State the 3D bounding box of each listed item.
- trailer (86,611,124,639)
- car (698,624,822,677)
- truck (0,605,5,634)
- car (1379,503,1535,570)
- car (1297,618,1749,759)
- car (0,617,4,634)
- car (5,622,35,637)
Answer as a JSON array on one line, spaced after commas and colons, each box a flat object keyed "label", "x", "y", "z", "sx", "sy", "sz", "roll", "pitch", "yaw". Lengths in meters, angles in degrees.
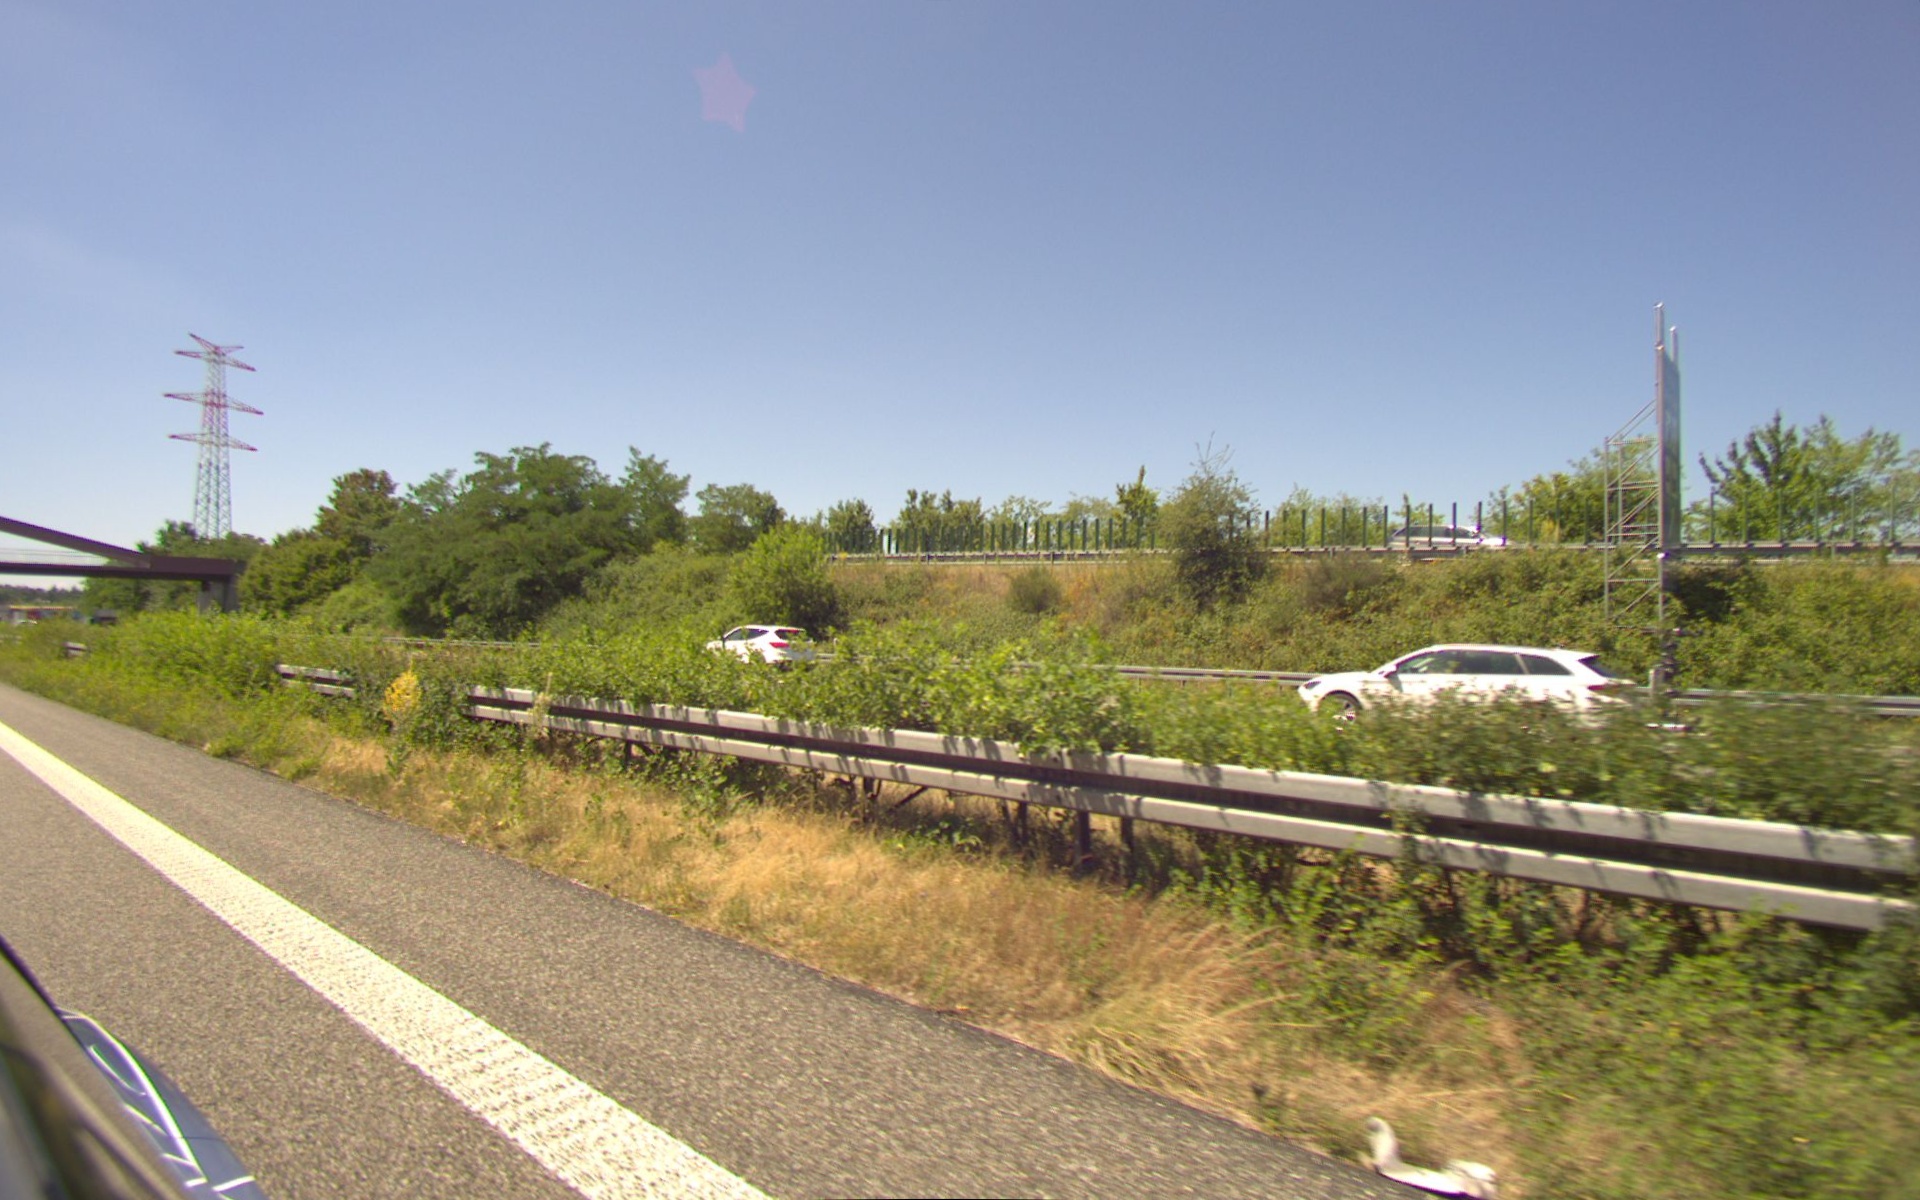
[{"label": "trailer", "x": -78.509, "y": 2.264, "z": 92.885, "sx": 4.181, "sy": 2.538, "sz": 1.973, "roll": -1, "pitch": -2, "yaw": 41}, {"label": "car", "x": -6.511, "y": 1.585, "z": 32.742, "sx": 4.149, "sy": 1.608, "sz": 1.746, "roll": -1, "pitch": -2, "yaw": 41}, {"label": "truck", "x": -143.327, "y": 2.901, "z": 149.539, "sx": 5.590, "sy": 4.259, "sz": 2.412, "roll": -1, "pitch": -2, "yaw": 40}, {"label": "car", "x": 15.414, "y": -1.912, "z": 31.523, "sx": 1.701, "sy": 1.807, "sz": 4.004, "roll": -1, "pitch": 0, "yaw": -43}, {"label": "car", "x": 7.913, "y": 1.129, "z": 14.675, "sx": 5.493, "sy": 1.695, "sz": 1.812, "roll": -1, "pitch": -2, "yaw": 40}, {"label": "car", "x": -112.562, "y": 2.947, "z": 117.464, "sx": 3.997, "sy": 1.858, "sz": 1.868, "roll": -1, "pitch": -2, "yaw": 41}, {"label": "car", "x": -94.784, "y": 2.952, "z": 102.013, "sx": 3.997, "sy": 1.446, "sz": 1.734, "roll": -1, "pitch": -2, "yaw": 41}]
